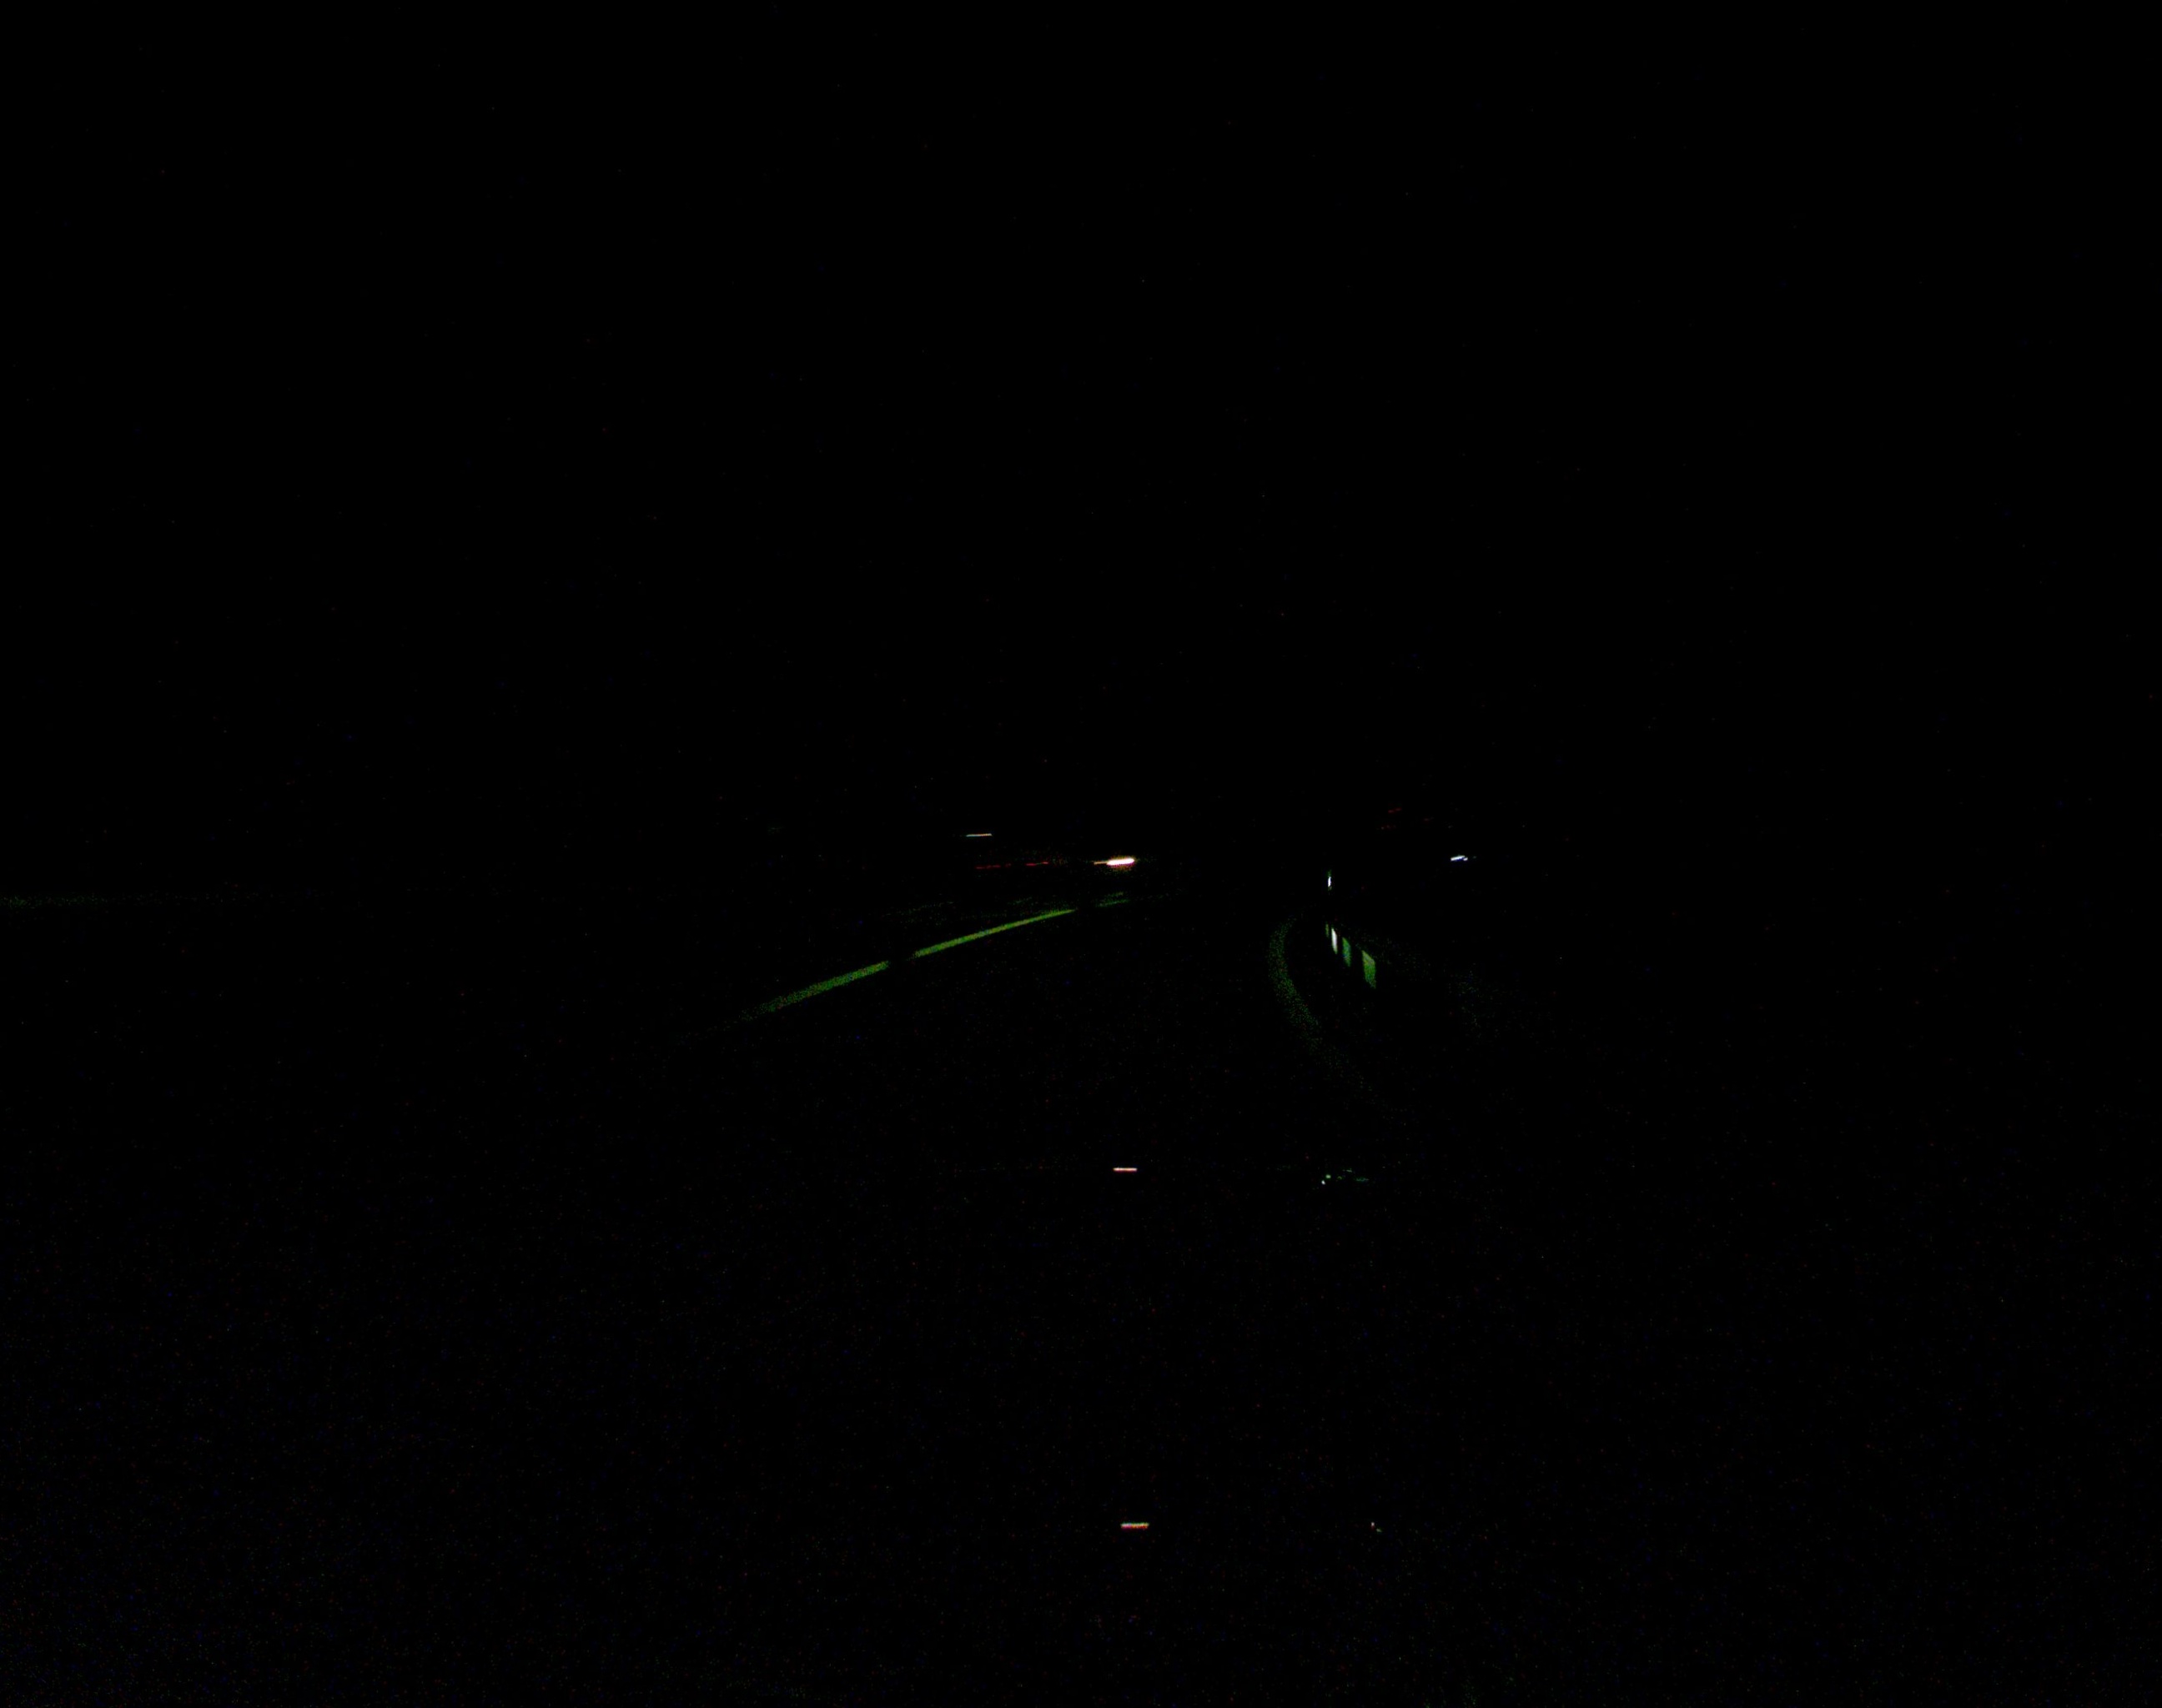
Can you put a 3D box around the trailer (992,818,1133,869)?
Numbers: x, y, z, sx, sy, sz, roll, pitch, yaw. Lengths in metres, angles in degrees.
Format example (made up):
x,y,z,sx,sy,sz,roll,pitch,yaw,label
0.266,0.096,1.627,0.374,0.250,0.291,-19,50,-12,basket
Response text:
x,y,z,sx,sy,sz,roll,pitch,yaw,label
-1.167,-0.789,66.690,2.733,3.816,13.843,0,0,42,trailer

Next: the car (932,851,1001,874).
x,y,z,sx,sy,sz,roll,pitch,yaw,label
-6.912,0.480,49.532,1.609,1.277,4.023,0,1,45,car

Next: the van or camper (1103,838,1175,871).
x,y,z,sx,sy,sz,roll,pitch,yaw,label
4.848,0.060,66.757,1.975,2.550,7.228,0,0,41,van or camper

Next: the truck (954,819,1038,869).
x,y,z,sx,sy,sz,roll,pitch,yaw,label
-6.318,-0.721,61.227,2.732,3.595,5.999,0,0,42,truck
